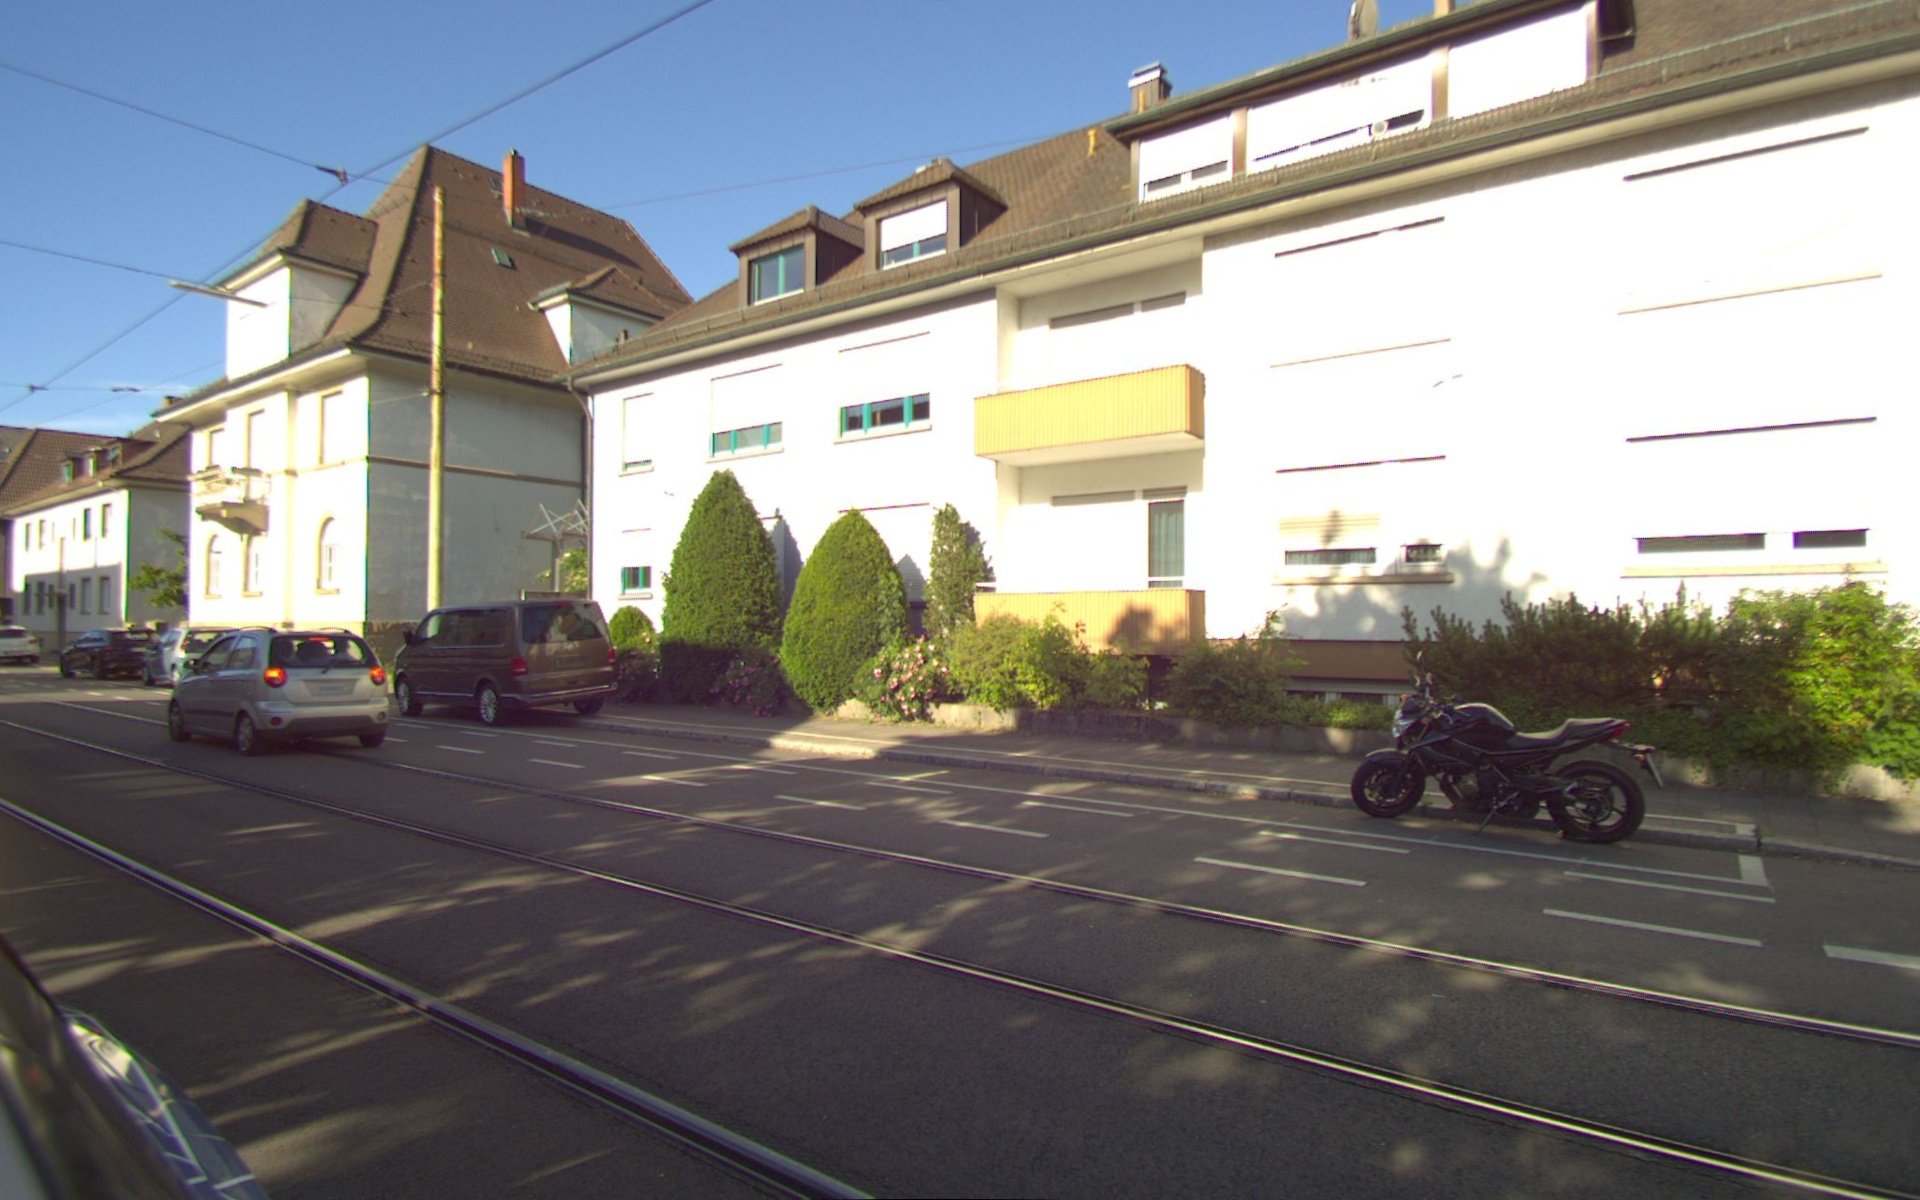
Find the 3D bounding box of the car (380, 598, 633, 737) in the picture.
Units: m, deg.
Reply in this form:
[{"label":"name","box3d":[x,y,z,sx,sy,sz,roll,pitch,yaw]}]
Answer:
[{"label":"car","box3d":[-7.773,1.026,17.114,4.943,2.029,1.887,-1,-1,39]}]

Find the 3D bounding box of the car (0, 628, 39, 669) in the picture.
[{"label":"car","box3d":[-36.381,1.807,38.205,4.009,1.468,1.616,-1,-3,37]}]

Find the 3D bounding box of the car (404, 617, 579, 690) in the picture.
[{"label":"car","box3d":[-12.415,1.400,27.020,1.751,1.797,3.891,-1,-2,35]}]

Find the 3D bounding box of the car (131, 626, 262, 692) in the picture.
[{"label":"car","box3d":[-19.294,1.429,25.518,3.828,1.488,1.661,-1,-1,37]}]

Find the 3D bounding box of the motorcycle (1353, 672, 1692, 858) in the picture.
[{"label":"motorcycle","box3d":[4.151,1.156,7.607,2.168,1.171,0.531,-1,-4,37]}]

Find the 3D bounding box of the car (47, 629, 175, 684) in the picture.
[{"label":"car","box3d":[-24.496,1.584,29.160,4.238,1.488,1.649,-1,-2,33]}]

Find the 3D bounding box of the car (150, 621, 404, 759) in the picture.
[{"label":"car","box3d":[-8.566,1.039,12.624,3.435,1.488,1.560,-1,-4,37]}]
